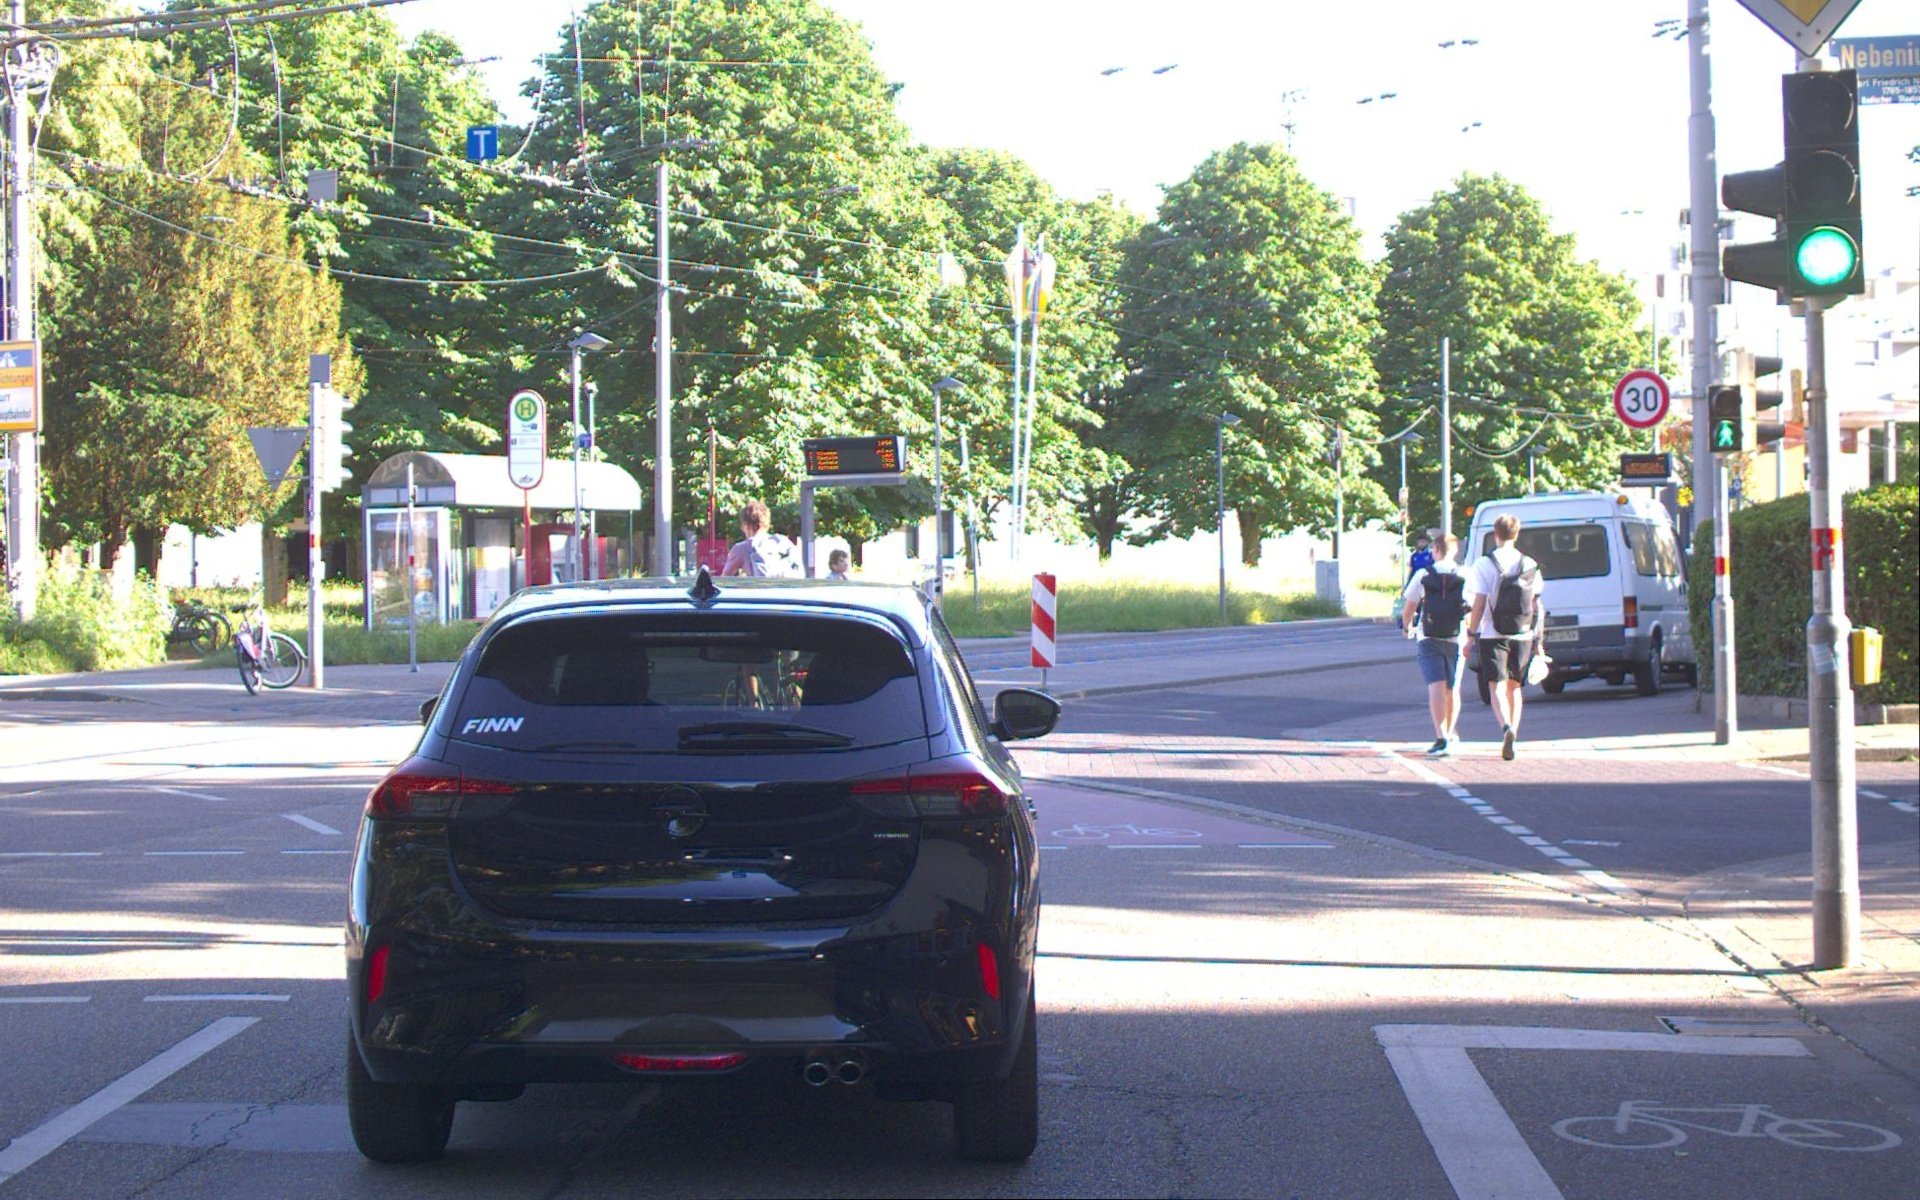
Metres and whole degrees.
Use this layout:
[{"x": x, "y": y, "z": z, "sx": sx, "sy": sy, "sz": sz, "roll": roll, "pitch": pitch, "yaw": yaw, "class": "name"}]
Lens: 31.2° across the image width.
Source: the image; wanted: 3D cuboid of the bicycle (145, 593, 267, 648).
[{"x": -12.520, "y": 0.336, "z": 57.103, "sx": 1.877, "sy": 0.903, "sz": 0.659, "roll": 0, "pitch": 1, "yaw": 5, "class": "bicycle"}]

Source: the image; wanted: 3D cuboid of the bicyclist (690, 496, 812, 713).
[{"x": -1.501, "y": 0.022, "z": 24.622, "sx": 0.840, "sy": 1.504, "sz": 1.369, "roll": 0, "pitch": 1, "yaw": -4, "class": "bicyclist"}]

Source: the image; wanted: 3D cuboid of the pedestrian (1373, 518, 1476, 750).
[{"x": 3.619, "y": 0.260, "z": 26.818, "sx": 0.698, "sy": 1.786, "sz": 0.617, "roll": 0, "pitch": 1, "yaw": -2, "class": "pedestrian"}]

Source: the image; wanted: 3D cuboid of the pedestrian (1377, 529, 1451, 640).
[{"x": 7.426, "y": -0.260, "z": 56.167, "sx": 0.959, "sy": 1.787, "sz": 0.994, "roll": 0, "pitch": 0, "yaw": 24, "class": "pedestrian"}]

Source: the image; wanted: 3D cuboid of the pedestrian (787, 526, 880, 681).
[{"x": -1.388, "y": 0.029, "z": 37.777, "sx": 0.727, "sy": 1.687, "sz": 0.699, "roll": 0, "pitch": 1, "yaw": 43, "class": "pedestrian"}]

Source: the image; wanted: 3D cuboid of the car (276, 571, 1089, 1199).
[{"x": -0.640, "y": 0.652, "z": 9.628, "sx": 1.800, "sy": 1.436, "sz": 3.940, "roll": 0, "pitch": 1, "yaw": -1, "class": "car"}]

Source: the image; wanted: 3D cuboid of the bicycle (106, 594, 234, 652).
[{"x": -12.691, "y": 0.369, "z": 55.242, "sx": 1.877, "sy": 0.903, "sz": 0.659, "roll": 0, "pitch": 1, "yaw": 5, "class": "bicycle"}]

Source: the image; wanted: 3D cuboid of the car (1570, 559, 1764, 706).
[{"x": 9.001, "y": 0.374, "z": 43.565, "sx": 1.802, "sy": 1.757, "sz": 3.887, "roll": 0, "pitch": 1, "yaw": 21, "class": "car"}]

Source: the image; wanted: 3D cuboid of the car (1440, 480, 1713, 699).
[{"x": 6.876, "y": -0.107, "z": 37.979, "sx": 2.092, "sy": 2.270, "sz": 4.301, "roll": 1, "pitch": 0, "yaw": 22, "class": "car"}]

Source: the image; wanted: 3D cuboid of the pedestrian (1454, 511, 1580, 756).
[{"x": 4.273, "y": 0.245, "z": 26.366, "sx": 0.704, "sy": 1.840, "sz": 0.699, "roll": 0, "pitch": 1, "yaw": 38, "class": "pedestrian"}]

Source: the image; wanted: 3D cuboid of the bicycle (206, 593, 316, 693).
[{"x": -7.745, "y": 0.461, "z": 38.168, "sx": 0.825, "sy": 1.056, "sz": 1.883, "roll": 0, "pitch": 1, "yaw": 0, "class": "bicycle"}]

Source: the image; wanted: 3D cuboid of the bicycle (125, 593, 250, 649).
[{"x": -12.634, "y": 0.337, "z": 56.229, "sx": 1.877, "sy": 0.903, "sz": 0.659, "roll": 0, "pitch": 1, "yaw": 5, "class": "bicycle"}]

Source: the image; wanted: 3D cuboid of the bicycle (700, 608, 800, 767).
[{"x": -1.492, "y": 0.607, "z": 24.671, "sx": 0.667, "sy": 1.056, "sz": 2.082, "roll": 0, "pitch": 1, "yaw": -2, "class": "bicycle"}]
